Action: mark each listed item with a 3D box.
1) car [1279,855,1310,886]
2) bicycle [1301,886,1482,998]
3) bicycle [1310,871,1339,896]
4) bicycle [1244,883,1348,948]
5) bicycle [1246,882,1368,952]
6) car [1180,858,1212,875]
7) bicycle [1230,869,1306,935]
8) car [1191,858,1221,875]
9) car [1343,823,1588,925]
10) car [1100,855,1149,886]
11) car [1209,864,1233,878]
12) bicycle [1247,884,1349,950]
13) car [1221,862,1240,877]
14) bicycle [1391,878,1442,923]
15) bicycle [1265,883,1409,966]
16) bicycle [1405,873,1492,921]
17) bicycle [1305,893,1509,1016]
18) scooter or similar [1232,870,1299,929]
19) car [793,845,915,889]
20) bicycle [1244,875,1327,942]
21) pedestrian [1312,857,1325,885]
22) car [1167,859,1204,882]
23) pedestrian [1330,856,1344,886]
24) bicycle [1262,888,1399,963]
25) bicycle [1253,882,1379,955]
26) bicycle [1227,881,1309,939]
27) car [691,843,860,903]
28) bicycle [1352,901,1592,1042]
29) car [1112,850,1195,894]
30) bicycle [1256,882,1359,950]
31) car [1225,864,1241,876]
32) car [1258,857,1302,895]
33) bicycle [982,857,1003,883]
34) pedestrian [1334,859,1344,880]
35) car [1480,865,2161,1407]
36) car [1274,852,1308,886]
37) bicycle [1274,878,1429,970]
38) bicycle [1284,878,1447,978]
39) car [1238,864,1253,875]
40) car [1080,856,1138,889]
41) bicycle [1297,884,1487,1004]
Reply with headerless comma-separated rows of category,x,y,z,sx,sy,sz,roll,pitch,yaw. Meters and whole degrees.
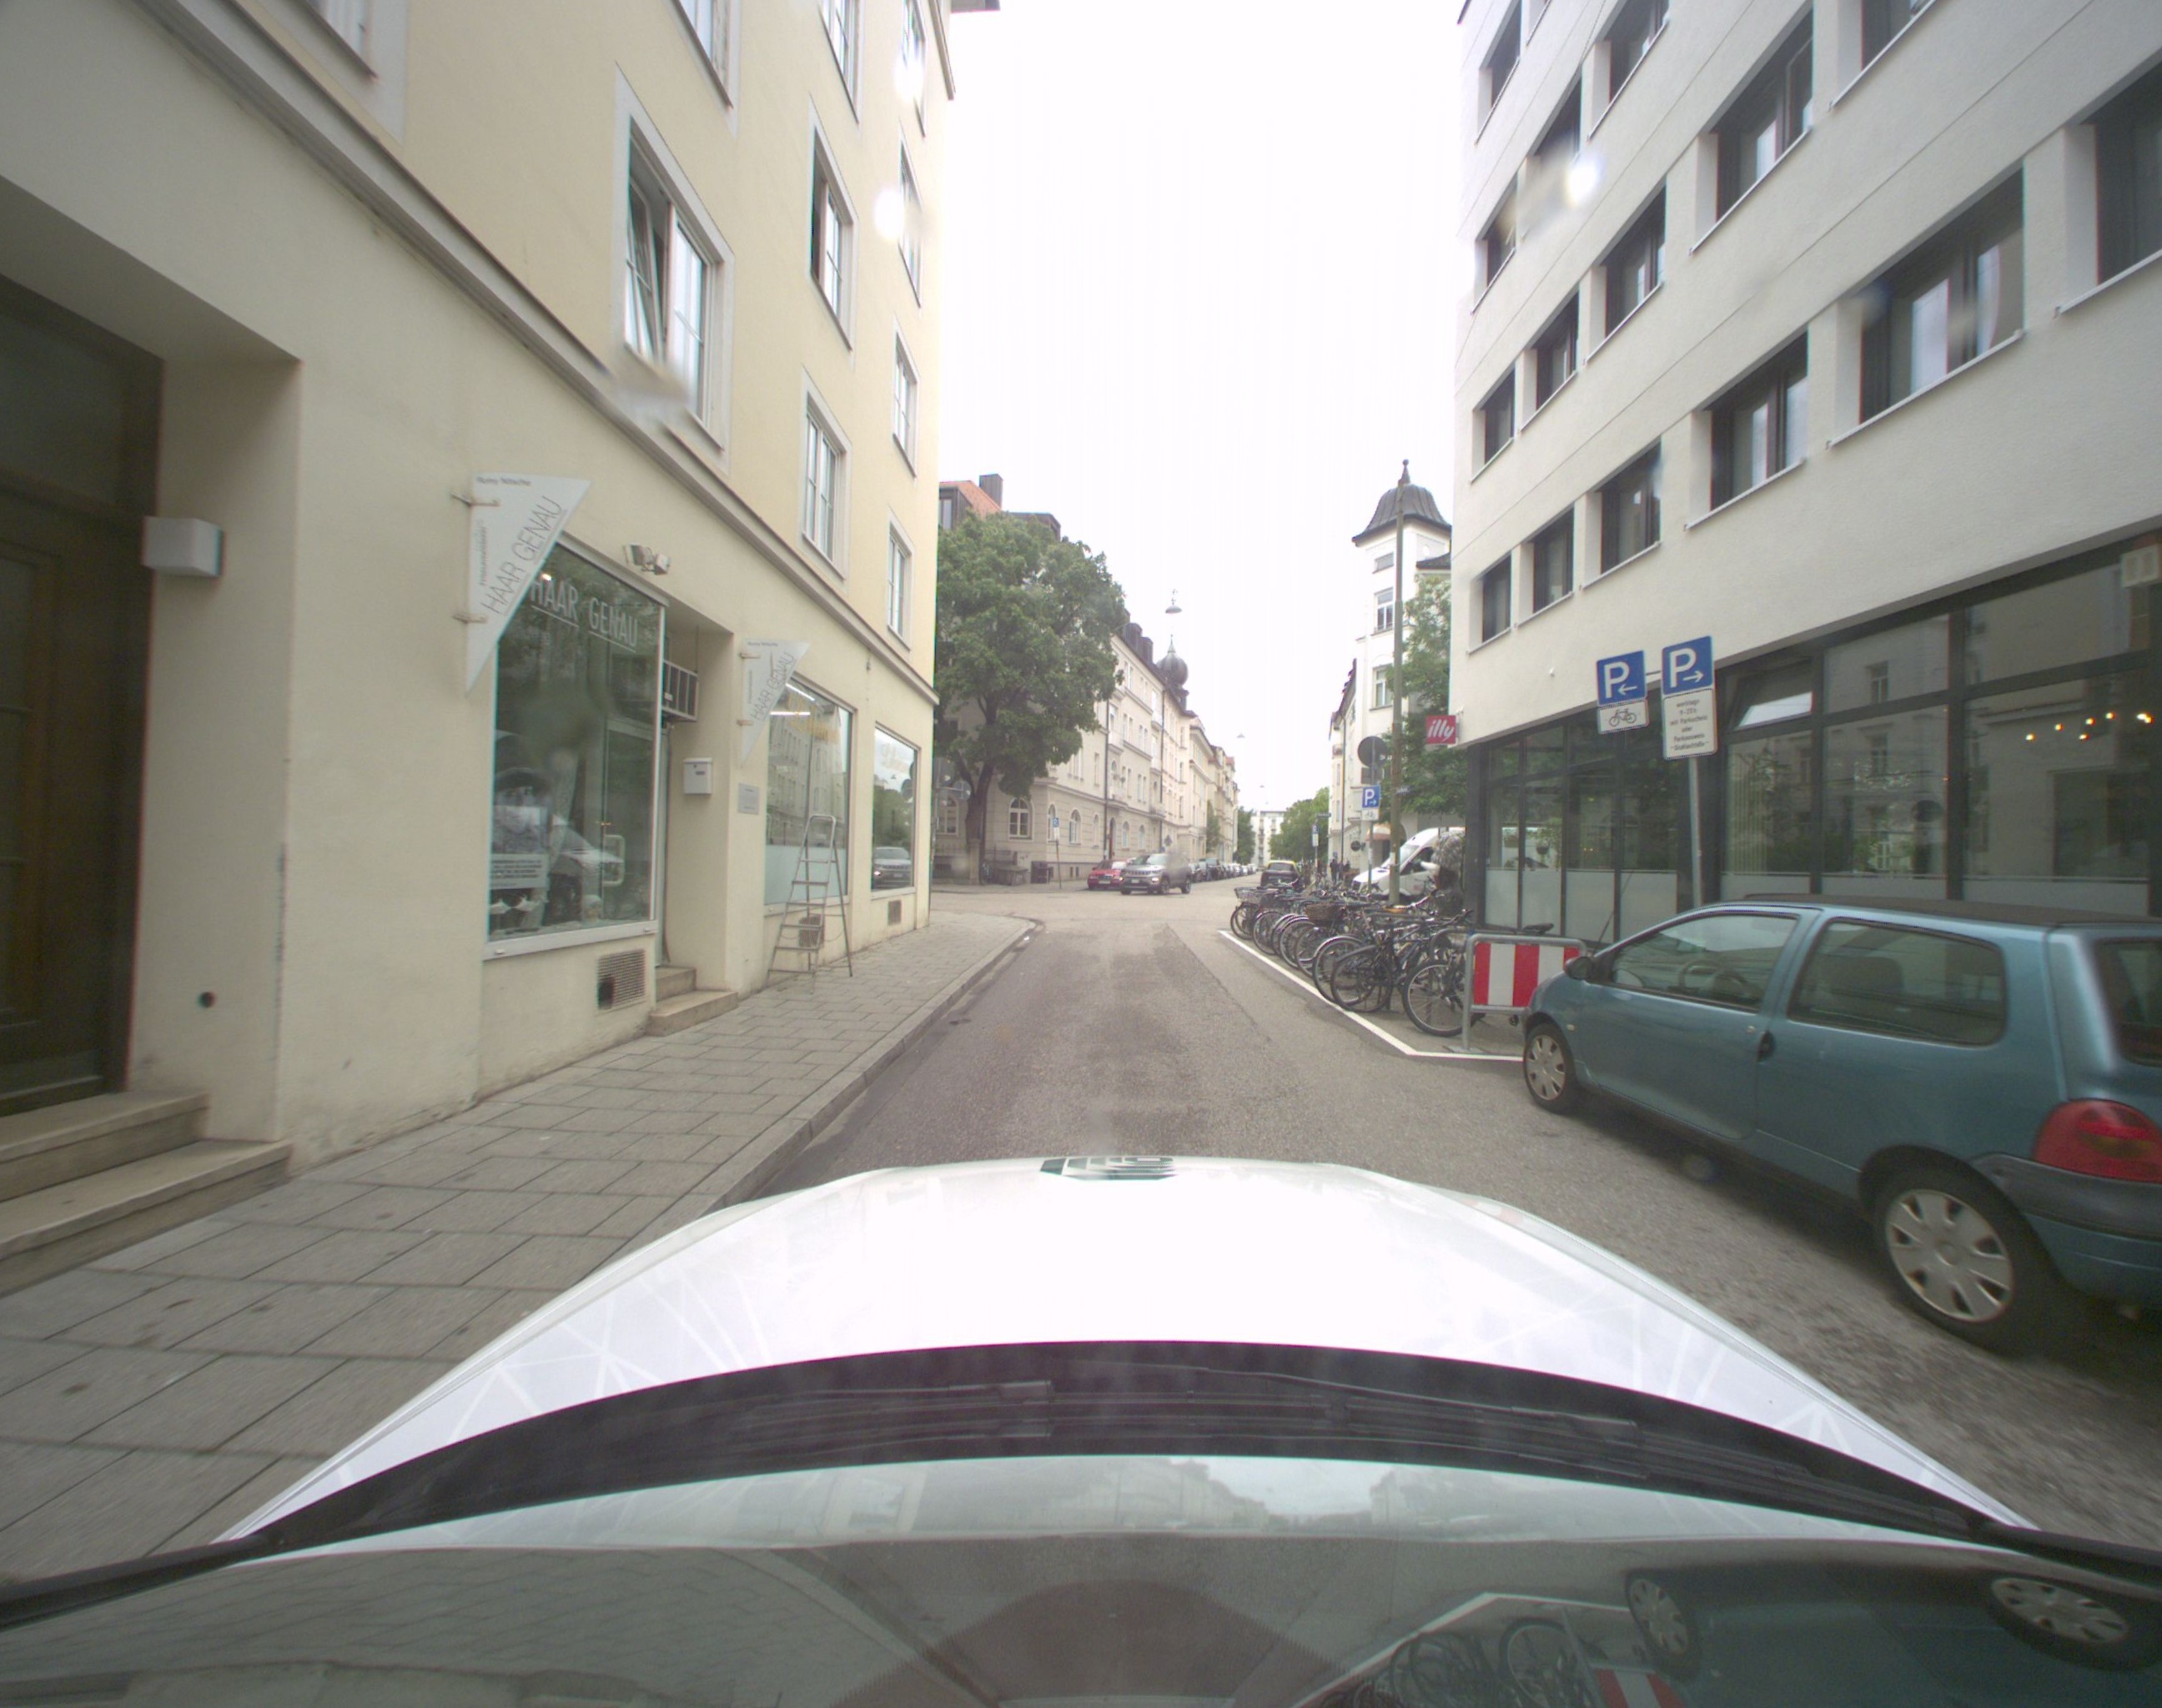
car,14.415,1.079,54.847,1.806,1.923,4.200,3,0,16
bicycle,3.618,1.015,9.573,1.868,1.157,0.565,3,1,-1
bicycle,10.632,1.285,35.592,0.539,0.999,1.751,-2,0,-8
bicycle,3.827,1.092,14.552,1.735,1.080,0.452,1,1,-2
bicycle,3.679,1.021,13.317,1.868,1.080,0.408,1,1,-2
car,8.950,0.988,63.032,1.892,1.222,4.017,1,0,16
bicycle,3.846,0.974,16.798,1.451,1.285,0.445,2,0,3
car,10.397,1.006,67.453,1.892,1.329,4.017,1,0,16
car,10.632,0.505,22.959,5.862,2.591,2.064,1,1,6
car,2.301,0.827,42.124,1.981,1.473,4.230,1,0,10
car,13.577,1.639,78.873,1.893,1.222,4.015,1,0,15
bicycle,3.757,1.087,14.140,1.669,1.080,0.336,1,1,-2
car,16.590,1.679,90.102,1.808,1.574,4.014,1,0,13
bicycle,8.734,1.206,21.237,1.171,1.127,0.340,1,-1,8
bicycle,3.592,0.986,11.478,1.868,1.095,0.440,1,1,-2
bicycle,9.272,1.075,20.602,1.891,1.127,0.593,1,-1,6
bicycle,3.324,1.019,8.376,1.868,1.108,0.488,3,1,-1
scooter or similar,3.976,0.969,17.593,1.347,1.210,0.418,1,-1,3
car,-8.399,0.484,30.321,3.965,1.449,1.689,2,0,7
bicycle,3.845,1.017,15.337,1.449,1.207,0.394,2,0,-6
pedestrian,15.617,1.102,53.547,0.772,1.851,1.027,1,0,16
car,7.415,1.128,57.408,1.911,1.546,4.017,2,0,16
pedestrian,16.586,1.095,52.762,0.772,1.851,1.027,1,0,16
bicycle,3.712,1.062,12.177,1.868,1.052,0.564,1,-2,-2
bicycle,3.700,1.009,12.877,1.868,1.080,0.402,1,1,-2
bicycle,3.622,1.079,15.793,1.449,1.069,0.462,2,0,-6
car,-9.129,0.532,24.561,4.314,1.515,1.906,2,3,4
bicycle,3.472,1.038,7.308,1.868,1.079,0.488,3,1,-1
car,2.955,0.671,32.348,1.940,1.607,4.333,1,0,24
bicycle,3.812,1.046,13.753,1.608,1.080,0.378,1,1,-2
car,17.954,1.861,95.926,1.722,1.420,4.013,1,0,12
car,9.745,1.039,39.681,1.806,1.636,4.306,3,0,16
bicycle,-3.862,0.700,35.732,0.491,1.052,1.831,1,2,7
pedestrian,22.925,1.392,72.286,0.771,1.851,0.864,1,0,23
car,3.658,0.827,4.063,1.575,1.464,3.551,1,0,0
car,12.848,0.923,49.749,1.806,1.871,4.306,3,0,16
bicycle,3.611,0.924,10.934,1.888,1.170,0.565,1,0,-1
bicycle,3.578,0.917,10.307,1.868,1.204,0.579,0,0,-1
car,23.584,2.209,116.513,1.980,1.574,4.014,1,0,13
car,1.337,0.821,36.821,1.718,1.378,4.242,1,0,14
bicycle,3.371,0.968,8.896,1.868,1.204,0.488,1,1,-1
